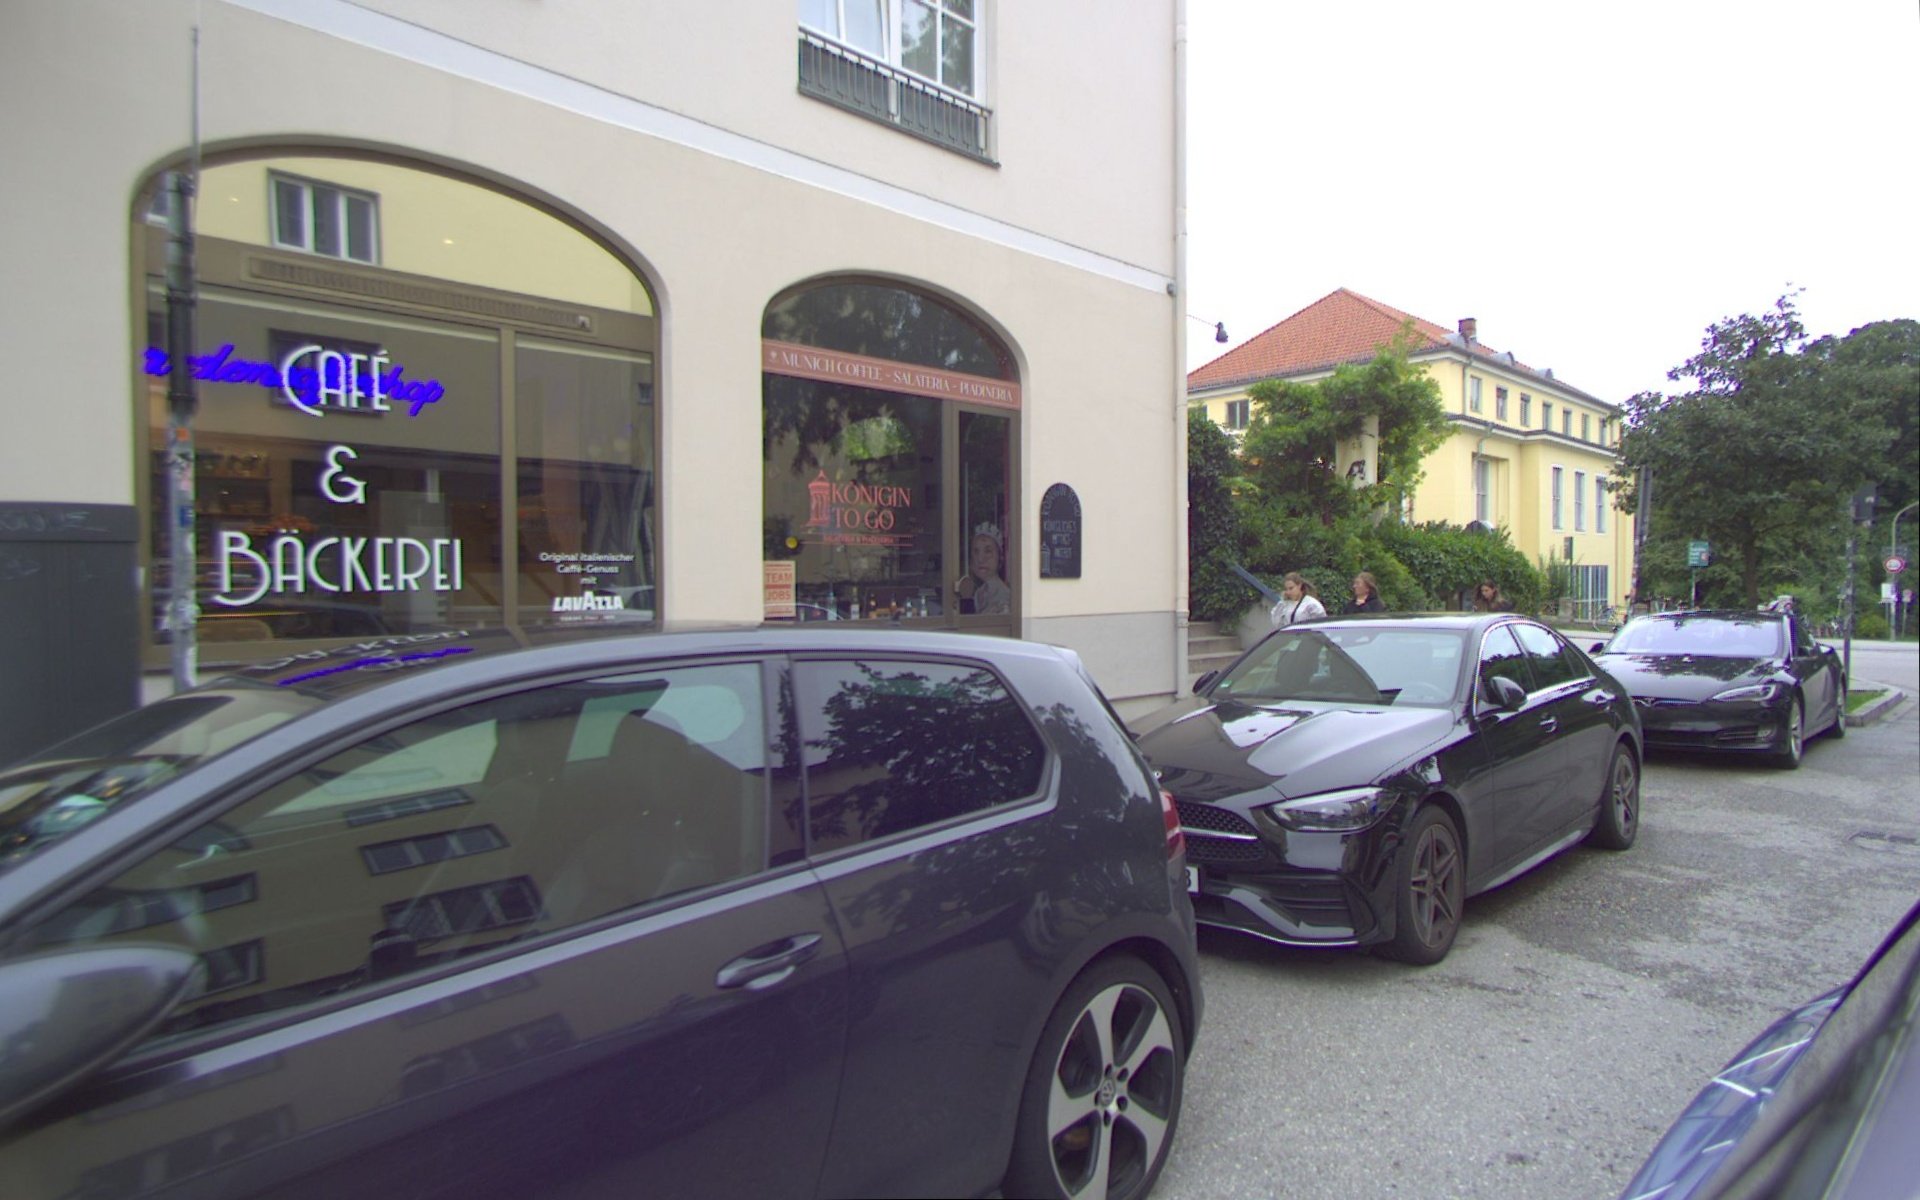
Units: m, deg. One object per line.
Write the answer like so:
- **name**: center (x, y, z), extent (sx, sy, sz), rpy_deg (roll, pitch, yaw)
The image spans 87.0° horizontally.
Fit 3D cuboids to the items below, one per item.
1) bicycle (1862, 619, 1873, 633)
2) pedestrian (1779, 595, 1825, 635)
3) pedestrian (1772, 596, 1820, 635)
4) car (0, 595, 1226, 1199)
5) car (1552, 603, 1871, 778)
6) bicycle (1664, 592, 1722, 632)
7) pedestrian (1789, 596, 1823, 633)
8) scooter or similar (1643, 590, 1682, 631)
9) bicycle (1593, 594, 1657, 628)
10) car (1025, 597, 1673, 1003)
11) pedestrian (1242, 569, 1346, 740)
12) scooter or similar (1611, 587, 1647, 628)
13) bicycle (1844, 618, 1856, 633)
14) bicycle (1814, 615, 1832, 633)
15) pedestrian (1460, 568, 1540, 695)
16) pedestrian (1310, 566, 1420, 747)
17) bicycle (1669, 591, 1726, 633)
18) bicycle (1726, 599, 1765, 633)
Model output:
- **bicycle**: center (43.679, 1.250, 48.694), extent (0.893, 0.665, 0.242), rpy_deg (2, 1, -41)
- **pedestrian**: center (28.746, 0.508, 34.571), extent (1.172, 1.310, 0.630), rpy_deg (0, -3, 39)
- **pedestrian**: center (28.042, 0.515, 33.967), extent (1.210, 1.264, 0.630), rpy_deg (0, -3, 39)
- **car**: center (-1.365, 0.733, 1.876), extent (4.134, 1.443, 1.676), rpy_deg (0, -1, -44)
- **car**: center (8.036, 0.758, 10.641), extent (4.576, 1.428, 1.805), rpy_deg (0, 0, -42)
- **bicycle**: center (23.436, 0.381, 32.353), extent (1.623, 1.206, 0.202), rpy_deg (3, 1, 1)
- **pedestrian**: center (29.236, 0.516, 34.984), extent (0.883, 1.251, 0.542), rpy_deg (0, -3, 39)
- **scooter or similar**: center (21.745, 0.303, 31.337), extent (0.317, 1.228, 1.118), rpy_deg (2, 1, -4)
- **bicycle**: center (21.523, 0.354, 32.775), extent (1.637, 1.005, 0.246), rpy_deg (4, 1, 26)
- **car**: center (2.494, 0.727, 5.752), extent (4.433, 1.443, 1.647), rpy_deg (0, -1, -43)
- **pedestrian**: center (3.482, 0.525, 10.549), extent (0.866, 1.681, 0.706), rpy_deg (-2, 2, -43)
- **scooter or similar**: center (21.096, 0.254, 31.889), extent (1.363, 1.263, 0.397), rpy_deg (1, 0, -33)
- **bicycle**: center (40.278, 1.160, 45.811), extent (0.892, 0.684, 0.215), rpy_deg (2, 1, -39)
- **bicycle**: center (35.158, 0.985, 41.224), extent (0.891, 0.684, 0.216), rpy_deg (2, 1, -30)
- **pedestrian**: center (7.312, 0.388, 13.692), extent (0.866, 1.642, 0.706), rpy_deg (-2, 2, -43)
- **pedestrian**: center (4.008, 0.515, 10.008), extent (0.866, 1.681, 0.706), rpy_deg (-2, 2, -43)
- **bicycle**: center (23.424, 0.378, 32.155), extent (1.623, 1.213, 0.169), rpy_deg (3, 1, 1)
- **bicycle**: center (25.459, 0.530, 32.799), extent (1.620, 1.051, 0.308), rpy_deg (2, 1, -27)
